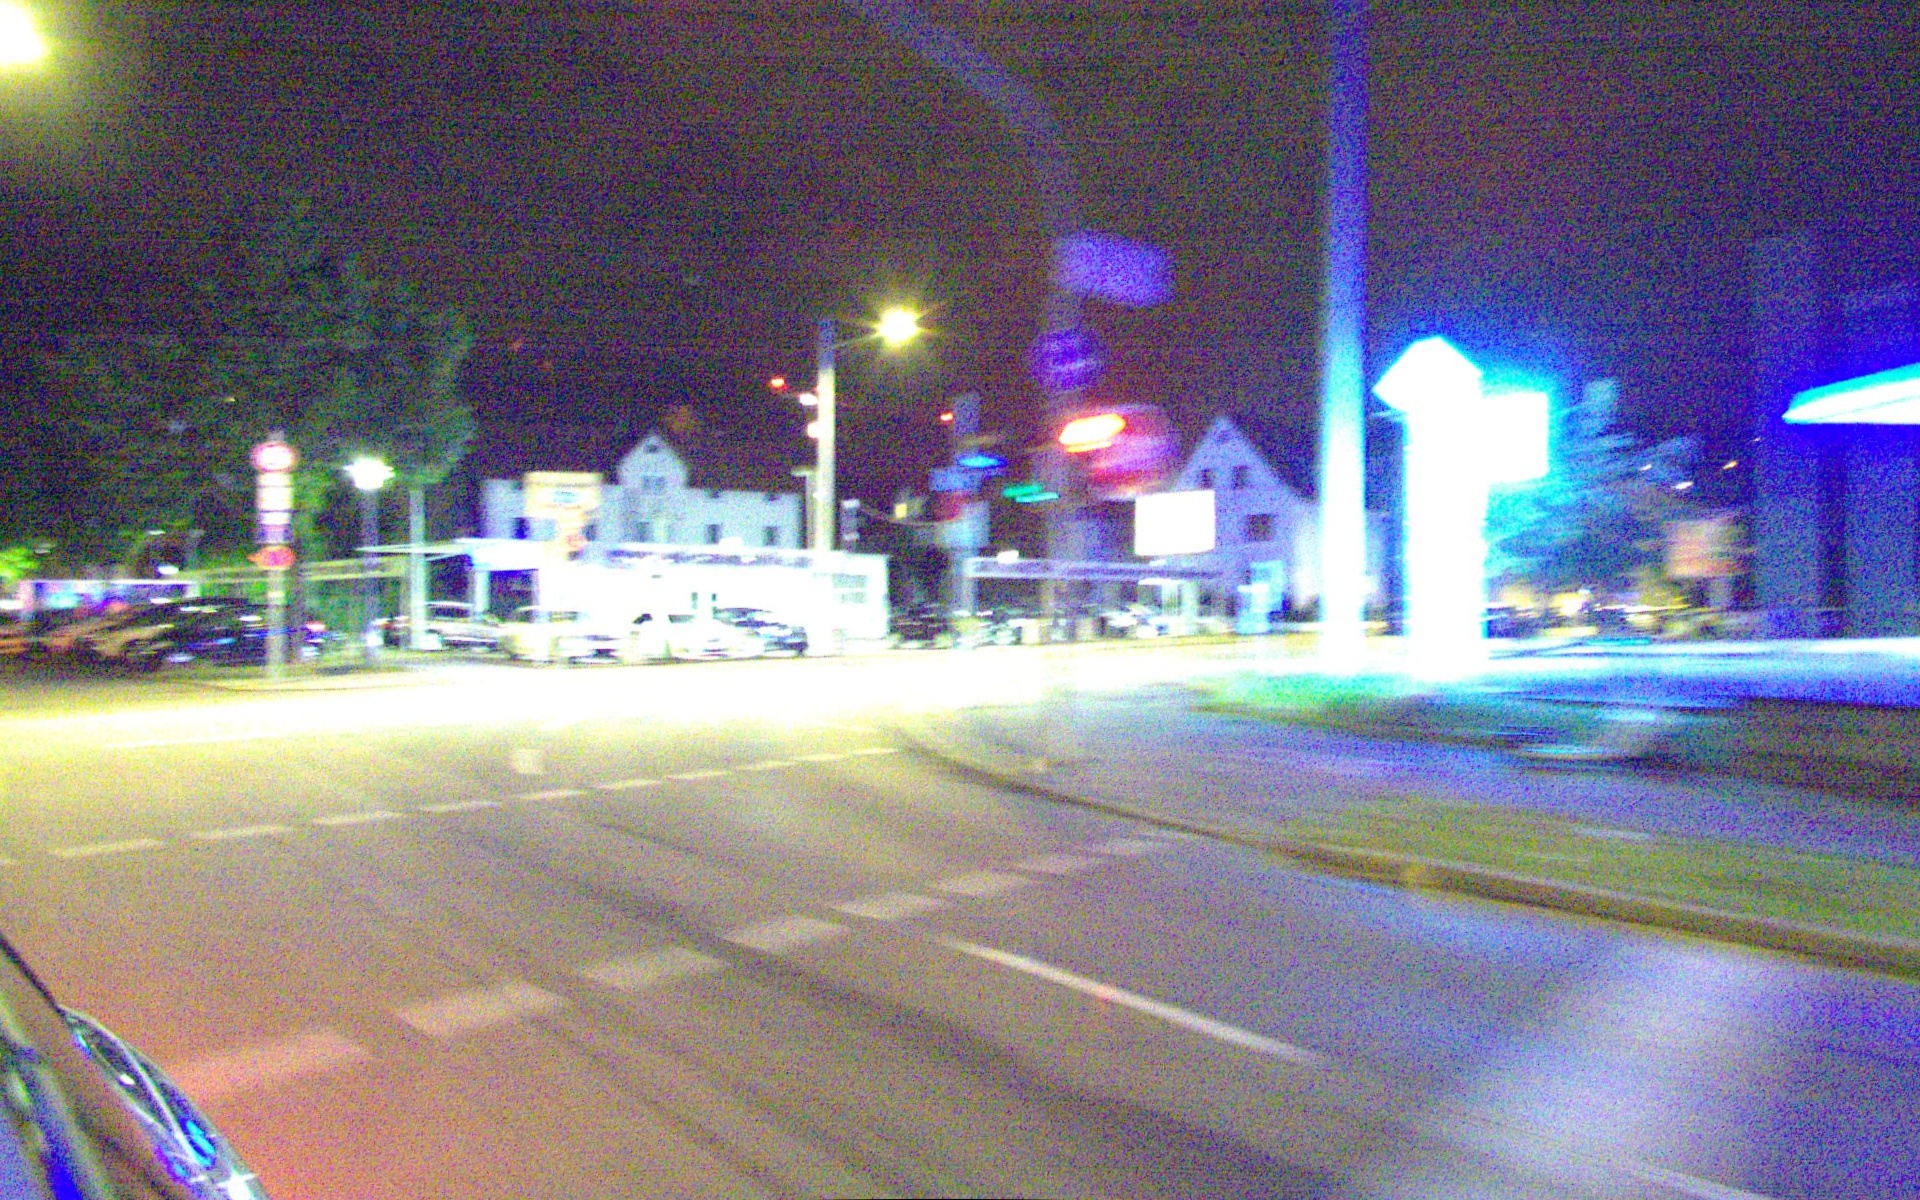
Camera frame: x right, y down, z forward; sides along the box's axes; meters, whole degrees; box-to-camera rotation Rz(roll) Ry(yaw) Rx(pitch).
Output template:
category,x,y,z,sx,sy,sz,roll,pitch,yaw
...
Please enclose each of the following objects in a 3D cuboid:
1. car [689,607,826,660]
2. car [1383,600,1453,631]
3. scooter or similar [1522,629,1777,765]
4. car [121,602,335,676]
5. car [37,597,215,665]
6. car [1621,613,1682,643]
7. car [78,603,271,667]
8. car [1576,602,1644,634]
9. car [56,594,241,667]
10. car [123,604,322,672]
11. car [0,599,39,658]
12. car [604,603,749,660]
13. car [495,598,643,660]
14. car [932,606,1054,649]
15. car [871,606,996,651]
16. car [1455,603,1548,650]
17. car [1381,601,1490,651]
category,x,y,z,sx,sy,sz,roll,pitch,yaw
car,-6.246,0.984,30.911,1.971,1.460,4.456,1,-1,-45
car,23.440,0.777,51.727,2.001,1.513,3.941,0,-1,45
scooter or similar,5.943,0.824,8.812,1.661,1.100,0.715,-1,0,8
car,-18.004,0.877,25.005,1.999,1.634,3.946,1,0,41
car,-25.479,0.888,31.009,1.999,1.900,3.946,1,0,41
car,37.628,1.497,55.038,3.940,1.531,2.002,1,-1,-44
car,-21.794,0.904,28.197,1.999,1.634,3.946,1,0,41
car,32.276,0.897,50.211,3.940,1.531,2.002,1,-1,-44
car,-23.685,0.821,29.634,1.999,1.960,3.946,1,0,41
car,-19.556,0.938,26.947,1.999,1.634,3.946,1,0,41
car,-30.776,0.857,31.890,3.995,1.795,1.974,0,-1,39
car,-8.067,0.849,28.544,4.455,1.460,1.971,0,-1,44
car,-10.251,0.698,26.350,1.971,1.460,4.456,1,-1,-45
car,1.178,0.993,37.940,1.971,1.460,4.456,1,-1,-45
car,-0.993,0.985,36.270,1.971,1.460,4.456,1,-1,-45
car,19.795,0.925,36.954,2.001,1.608,3.942,1,1,44
car,15.792,0.810,33.535,3.940,1.527,2.002,0,1,-44
